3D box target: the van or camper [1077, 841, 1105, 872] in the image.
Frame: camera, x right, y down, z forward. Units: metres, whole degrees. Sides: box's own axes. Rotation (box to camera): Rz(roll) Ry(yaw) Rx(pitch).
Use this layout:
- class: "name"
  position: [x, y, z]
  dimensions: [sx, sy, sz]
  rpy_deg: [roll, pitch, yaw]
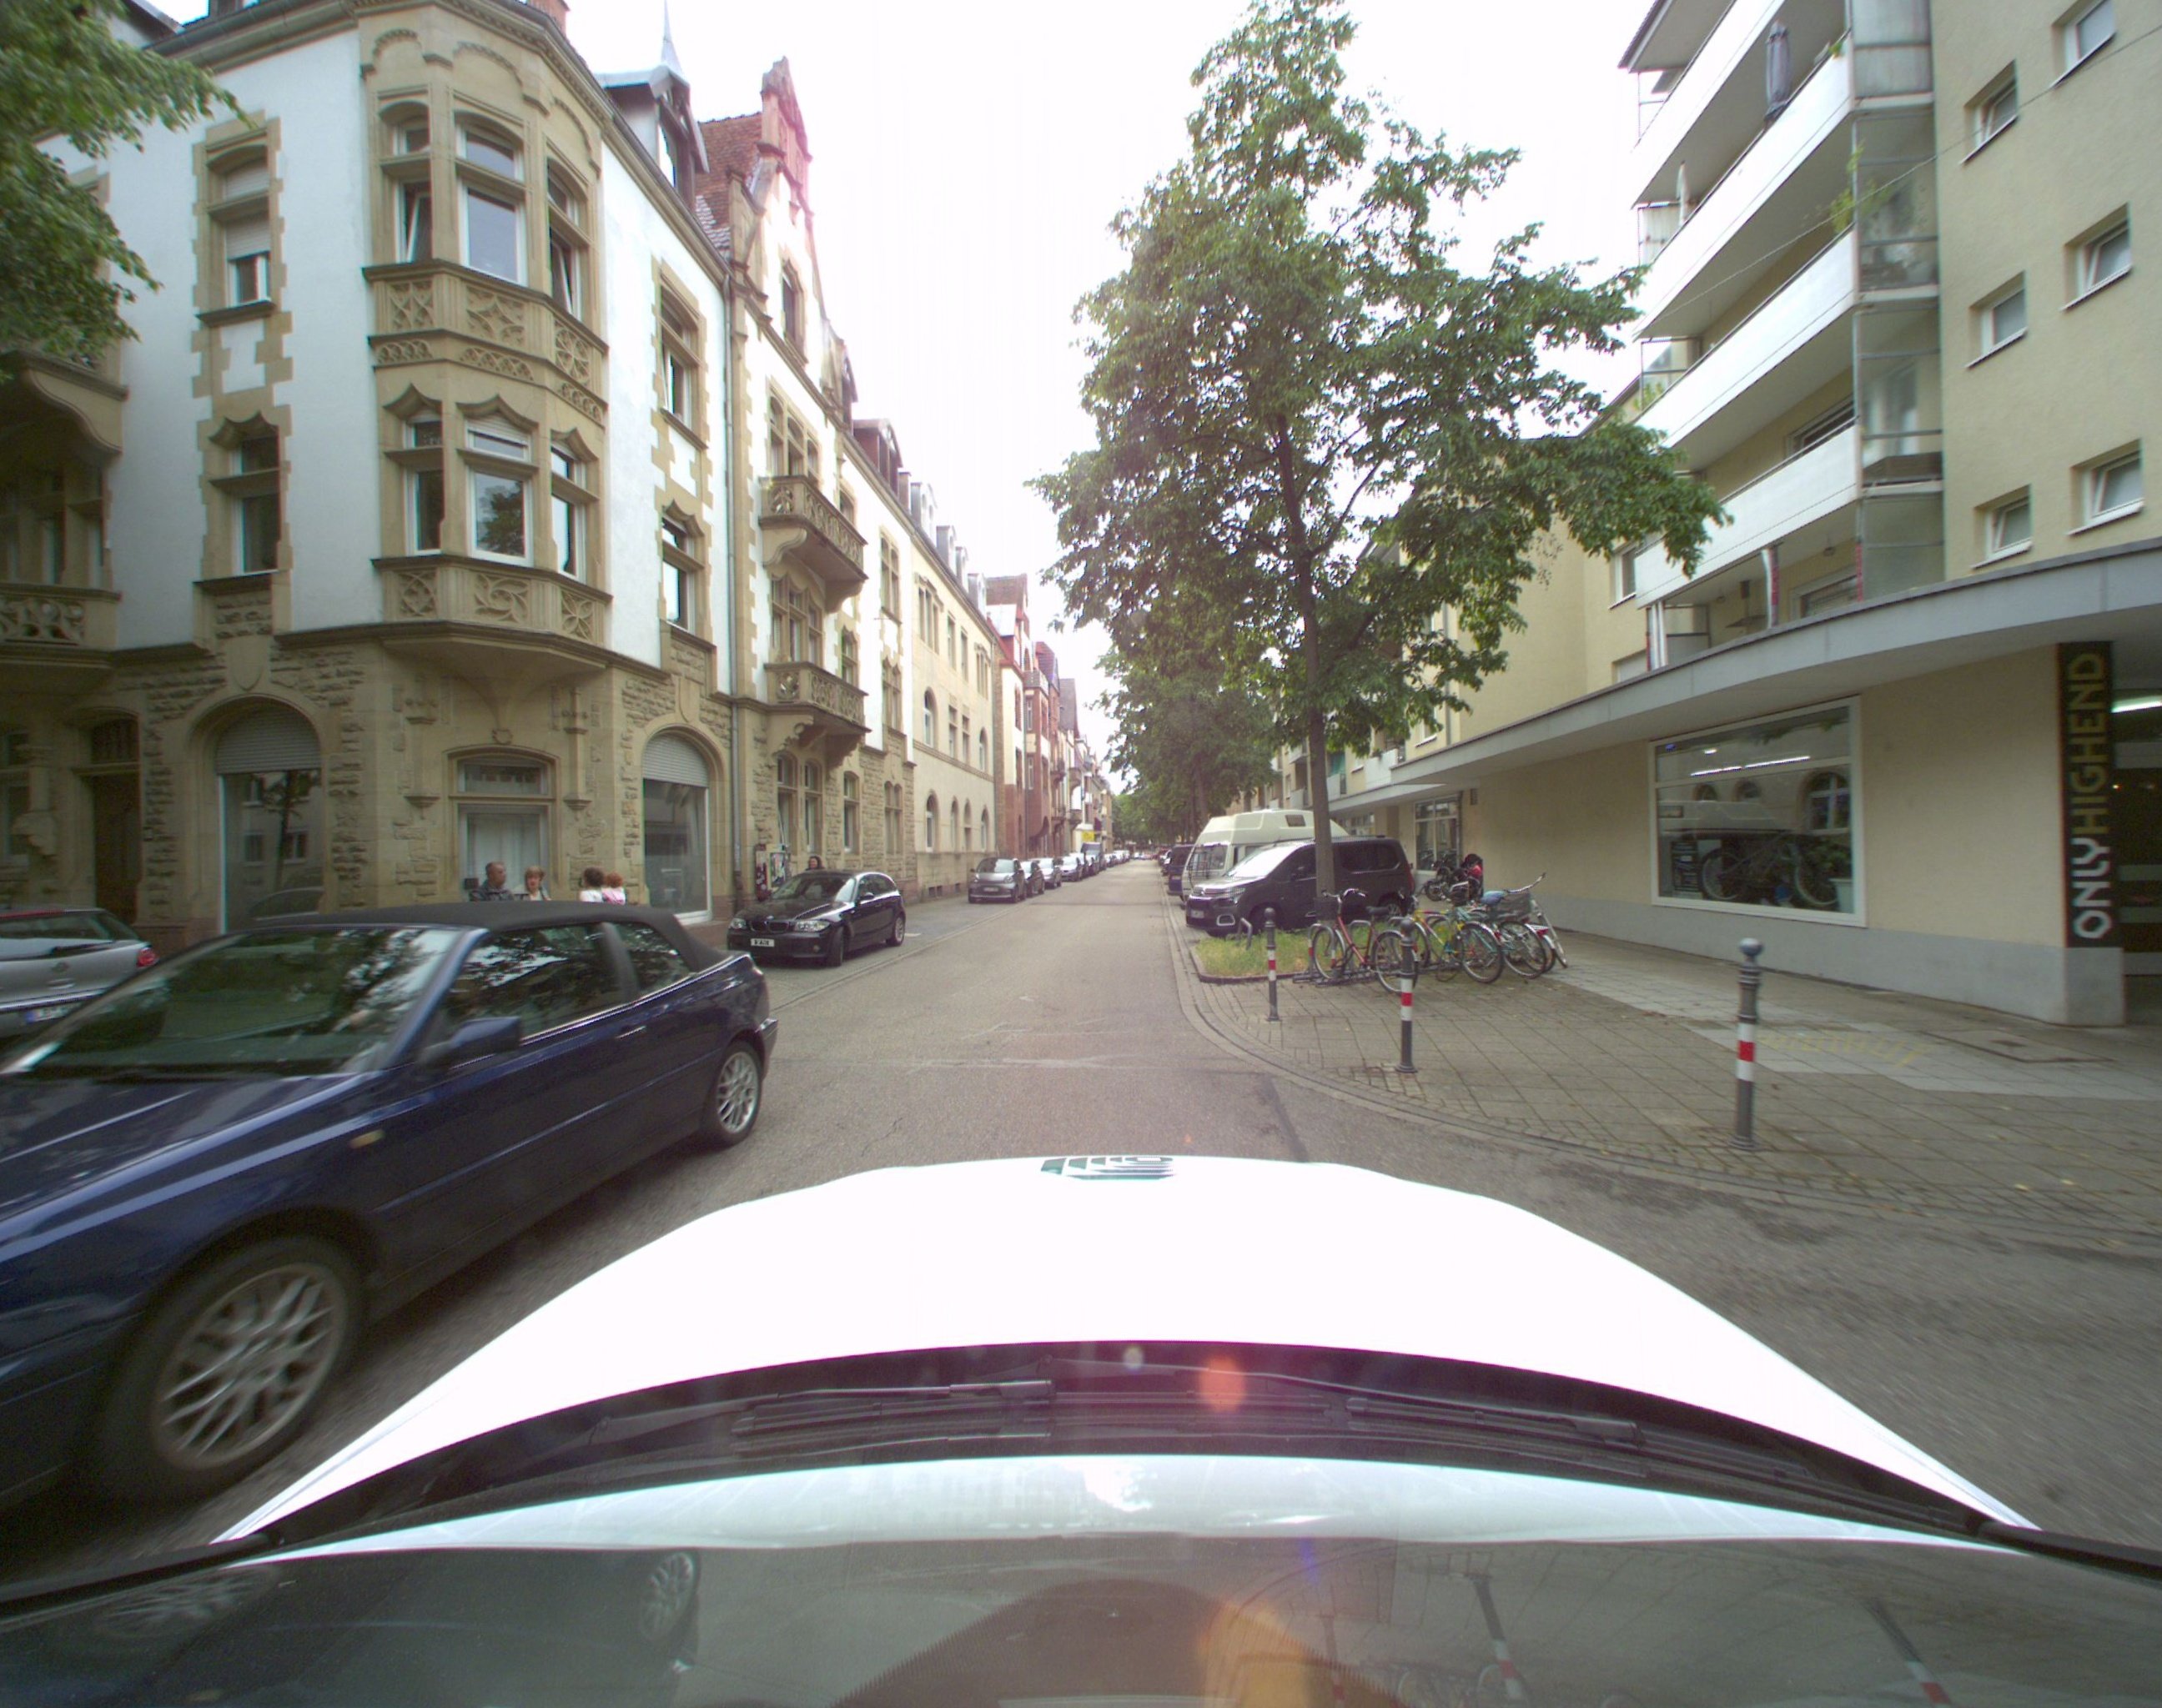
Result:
- class: "van or camper"
  position: [0.949, 0.153, 73.369]
  dimensions: [1.998, 2.651, 5.324]
  rpy_deg: [-2, 1, 5]

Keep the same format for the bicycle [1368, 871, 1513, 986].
- class: "bicycle"
  position: [4.132, 0.807, 9.514]
  dimensions: [0.549, 1.173, 1.718]
  rpy_deg: [-2, 0, -17]

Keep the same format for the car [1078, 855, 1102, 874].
- class: "car"
  position: [0.753, 0.869, 65.221]
  dimensions: [1.659, 1.473, 4.005]
  rpy_deg: [0, -1, 5]

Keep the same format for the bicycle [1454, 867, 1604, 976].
- class: "bicycle"
  position: [5.385, 0.761, 9.912]
  dimensions: [0.549, 1.173, 1.688]
  rpy_deg: [-2, 0, -17]

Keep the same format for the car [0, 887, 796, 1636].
- class: "car"
  position: [-2.891, 0.926, 3.424]
  dimensions: [1.700, 1.413, 3.858]
  rpy_deg: [-2, -1, 5]

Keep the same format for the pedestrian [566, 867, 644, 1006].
- class: "pedestrian"
  position: [-5.794, 0.962, 9.918]
  dimensions: [0.673, 1.593, 0.624]
  rpy_deg: [-1, 0, -44]

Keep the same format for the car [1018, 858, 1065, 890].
- class: "car"
  position: [-1.866, 0.926, 39.399]
  dimensions: [1.718, 1.386, 4.142]
  rpy_deg: [0, 1, 5]

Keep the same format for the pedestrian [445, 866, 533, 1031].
- class: "pedestrian"
  position: [-6.179, 0.959, 8.517]
  dimensions: [0.524, 1.643, 0.531]
  rpy_deg: [0, 0, 17]

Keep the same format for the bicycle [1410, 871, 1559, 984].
- class: "bicycle"
  position: [4.748, 0.811, 9.715]
  dimensions: [0.549, 1.173, 1.718]
  rpy_deg: [-2, 0, -17]

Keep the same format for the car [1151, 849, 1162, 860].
- class: "car"
  position: [14.502, 0.011, 156.859]
  dimensions: [1.984, 2.013, 4.005]
  rpy_deg: [2, 0, 4]

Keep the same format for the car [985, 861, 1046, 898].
- class: "car"
  position: [-2.524, 0.970, 32.221]
  dimensions: [1.718, 1.386, 3.934]
  rpy_deg: [0, -1, 5]

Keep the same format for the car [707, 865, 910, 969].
- class: "car"
  position: [-4.357, 0.933, 13.749]
  dimensions: [1.700, 1.494, 4.007]
  rpy_deg: [0, -1, 6]

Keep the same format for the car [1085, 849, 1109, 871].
- class: "car"
  position: [1.581, 0.585, 79.032]
  dimensions: [1.984, 2.013, 4.898]
  rpy_deg: [-1, 0, 5]

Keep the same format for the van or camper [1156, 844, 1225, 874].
- class: "van or camper"
  position: [8.356, 0.406, 62.081]
  dimensions: [4.747, 1.994, 1.986]
  rpy_deg: [-3, -2, -21]

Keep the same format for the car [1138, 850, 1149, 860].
- class: "car"
  position: [12.202, 0.197, 159.482]
  dimensions: [1.985, 1.794, 4.004]
  rpy_deg: [0, -1, 4]

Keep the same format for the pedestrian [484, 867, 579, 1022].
- class: "pedestrian"
  position: [-6.142, 0.978, 9.118]
  dimensions: [0.611, 1.643, 0.606]
  rpy_deg: [-1, 0, 17]

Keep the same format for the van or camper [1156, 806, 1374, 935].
- class: "van or camper"
  position: [4.173, 0.280, 18.314]
  dimensions: [4.608, 2.596, 1.894]
  rpy_deg: [-1, 0, -28]

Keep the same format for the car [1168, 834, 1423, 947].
- class: "car"
  position: [4.045, 0.604, 15.437]
  dimensions: [4.347, 1.854, 1.898]
  rpy_deg: [-1, 0, -21]

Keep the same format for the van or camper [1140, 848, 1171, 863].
- class: "van or camper"
  position: [11.043, 0.268, 120.510]
  dimensions: [4.165, 2.085, 1.937]
  rpy_deg: [-1, 0, -23]

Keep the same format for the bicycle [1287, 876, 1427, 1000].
- class: "bicycle"
  position: [2.990, 0.864, 9.014]
  dimensions: [0.549, 1.173, 1.718]
  rpy_deg: [-2, 0, -17]

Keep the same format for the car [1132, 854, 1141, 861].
- class: "car"
  position: [12.063, 0.790, 177.098]
  dimensions: [1.812, 1.645, 3.758]
  rpy_deg: [0, -1, 4]

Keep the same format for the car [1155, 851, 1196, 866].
- class: "car"
  position: [10.030, 0.484, 86.441]
  dimensions: [4.031, 1.559, 1.868]
  rpy_deg: [-1, 0, -26]

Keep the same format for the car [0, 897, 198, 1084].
- class: "car"
  position: [-10.736, 1.224, 7.689]
  dimensions: [3.543, 1.460, 1.656]
  rpy_deg: [-1, 2, 14]

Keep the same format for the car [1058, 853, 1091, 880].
- class: "car"
  position: [-0.388, 0.808, 53.759]
  dimensions: [1.778, 1.646, 4.367]
  rpy_deg: [0, 1, 5]

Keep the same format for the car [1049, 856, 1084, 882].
- class: "car"
  position: [-0.819, 0.864, 47.961]
  dimensions: [1.655, 1.420, 3.934]
  rpy_deg: [0, 1, 5]

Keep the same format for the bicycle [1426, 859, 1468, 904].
- class: "bicycle"
  position: [9.544, 0.692, 21.275]
  dimensions: [0.482, 1.090, 1.704]
  rpy_deg: [-2, 0, 7]

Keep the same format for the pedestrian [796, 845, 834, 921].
- class: "pedestrian"
  position: [-5.451, 0.592, 16.706]
  dimensions: [0.513, 1.518, 0.547]
  rpy_deg: [-2, 0, 5]

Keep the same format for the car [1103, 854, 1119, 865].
- class: "car"
  position: [4.203, 0.768, 113.321]
  dimensions: [1.984, 1.475, 4.006]
  rpy_deg: [-1, 0, 5]

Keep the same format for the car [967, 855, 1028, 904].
- class: "car"
  position: [-2.866, 0.853, 28.577]
  dimensions: [1.639, 1.570, 2.960]
  rpy_deg: [0, 1, 4]

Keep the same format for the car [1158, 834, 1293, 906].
- class: "car"
  position: [4.855, 0.473, 27.053]
  dimensions: [4.422, 2.196, 2.043]
  rpy_deg: [-1, 0, -40]

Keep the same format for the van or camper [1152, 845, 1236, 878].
- class: "van or camper"
  position: [7.414, 0.466, 53.412]
  dimensions: [5.028, 1.869, 2.111]
  rpy_deg: [-3, 0, -23]

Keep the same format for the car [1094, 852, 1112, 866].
- class: "car"
  position: [2.494, 0.570, 90.582]
  dimensions: [1.781, 1.480, 4.027]
  rpy_deg: [0, 0, 4]

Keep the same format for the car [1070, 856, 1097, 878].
- class: "car"
  position: [0.198, 0.915, 59.327]
  dimensions: [1.627, 1.473, 4.006]
  rpy_deg: [0, 0, 5]
